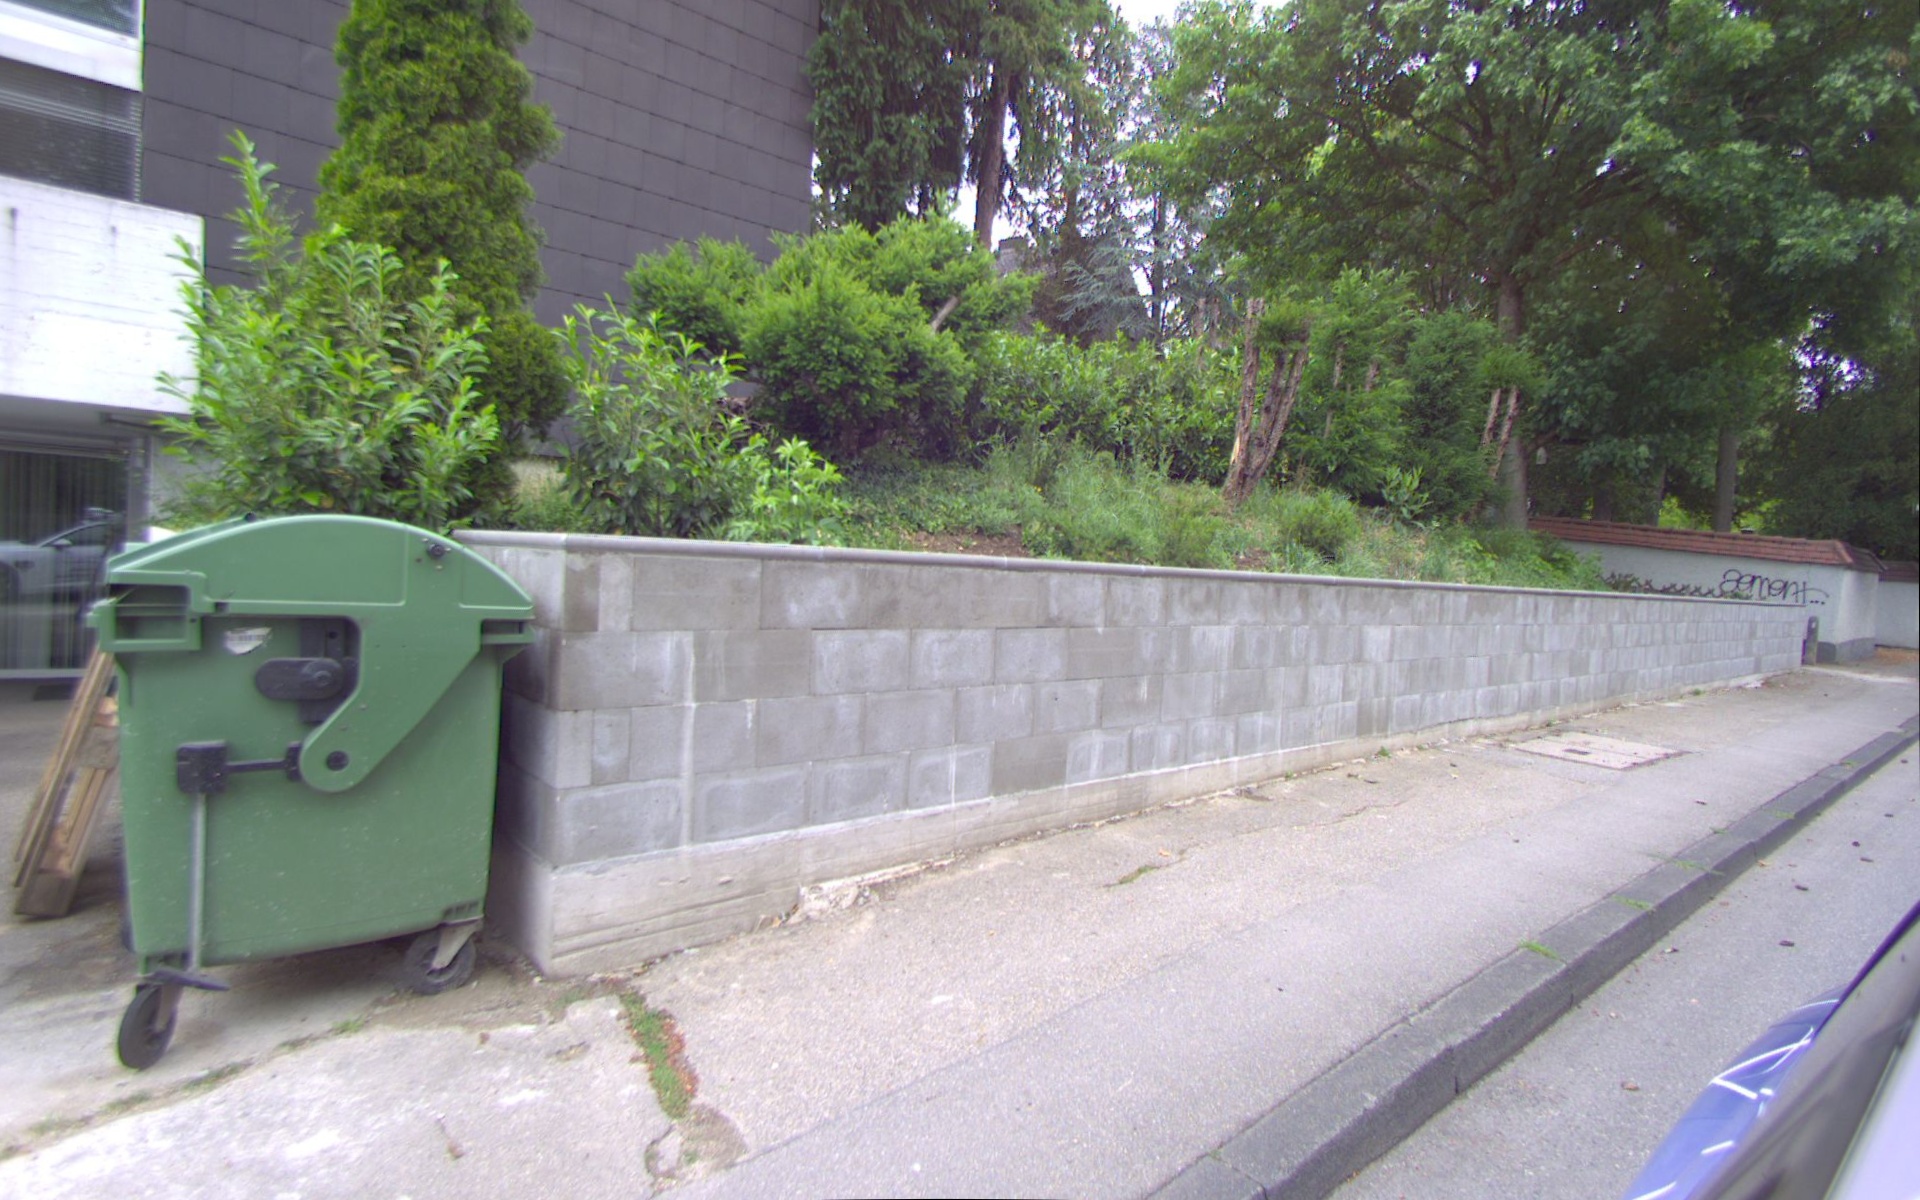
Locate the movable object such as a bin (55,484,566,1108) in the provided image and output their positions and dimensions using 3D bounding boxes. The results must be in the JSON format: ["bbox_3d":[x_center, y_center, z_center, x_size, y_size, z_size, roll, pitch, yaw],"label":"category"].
[{"bbox_3d":[-2.084,0.414,3.233,1.160,1.468,1.303,0,4,-40],"label":"movable object such as a bin"}]
